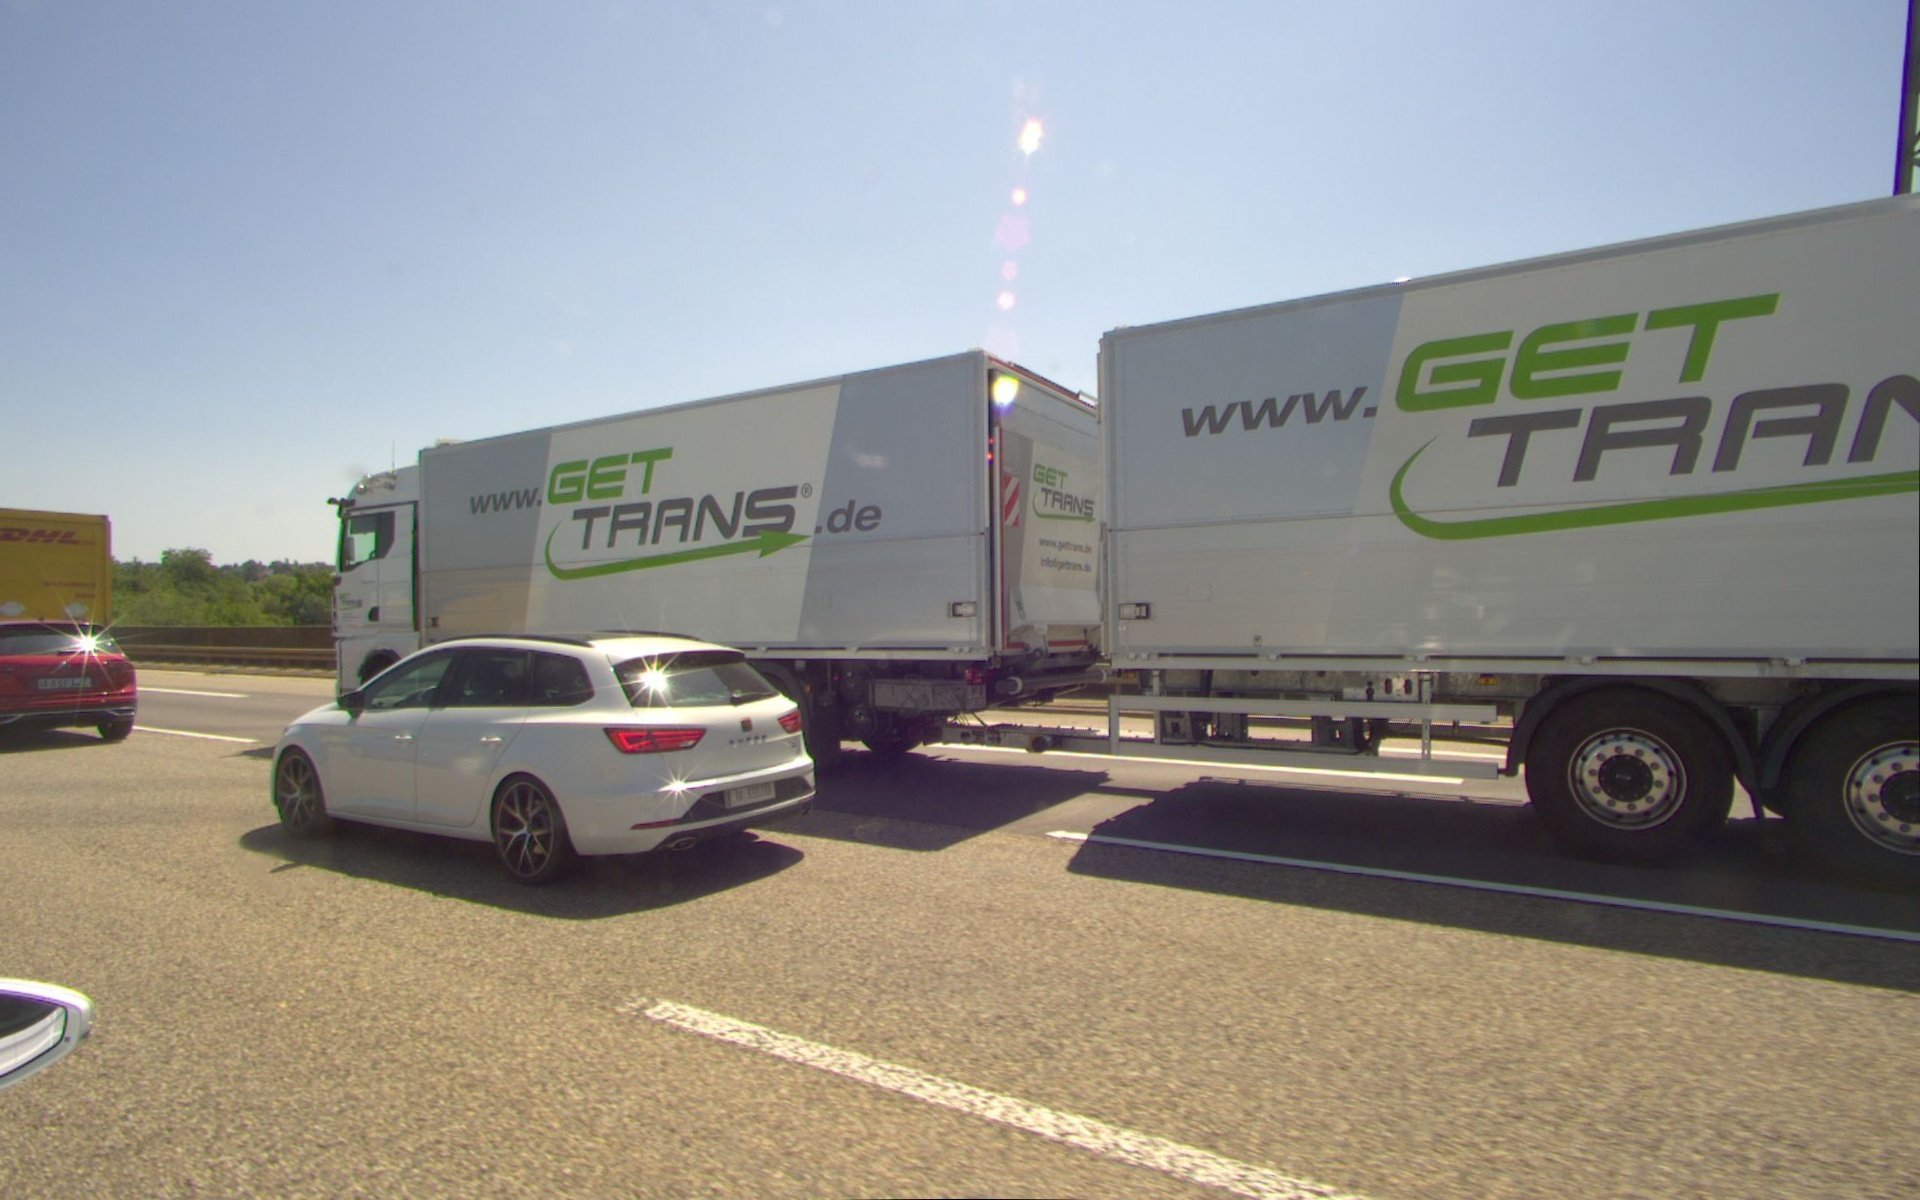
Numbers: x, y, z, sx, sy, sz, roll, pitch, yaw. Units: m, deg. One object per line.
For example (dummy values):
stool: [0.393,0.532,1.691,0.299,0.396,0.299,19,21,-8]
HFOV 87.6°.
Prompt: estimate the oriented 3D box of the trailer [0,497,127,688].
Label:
trailer: [-24.194,-0.047,24.802,8.849,4.140,2.679,-1,-2,31]

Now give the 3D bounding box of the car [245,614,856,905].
car: [-2.977,0.849,6.969,4.364,1.470,1.706,0,-1,32]

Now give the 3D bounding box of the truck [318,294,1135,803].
truck: [-3.389,-0.260,11.815,10.457,3.984,2.847,-1,-2,32]

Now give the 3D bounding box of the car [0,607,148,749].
car: [-13.043,0.972,13.672,4.222,1.700,1.706,-1,-1,31]

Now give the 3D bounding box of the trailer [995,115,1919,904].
trailer: [4.466,-0.392,6.909,8.096,3.941,2.894,-1,-2,32]
